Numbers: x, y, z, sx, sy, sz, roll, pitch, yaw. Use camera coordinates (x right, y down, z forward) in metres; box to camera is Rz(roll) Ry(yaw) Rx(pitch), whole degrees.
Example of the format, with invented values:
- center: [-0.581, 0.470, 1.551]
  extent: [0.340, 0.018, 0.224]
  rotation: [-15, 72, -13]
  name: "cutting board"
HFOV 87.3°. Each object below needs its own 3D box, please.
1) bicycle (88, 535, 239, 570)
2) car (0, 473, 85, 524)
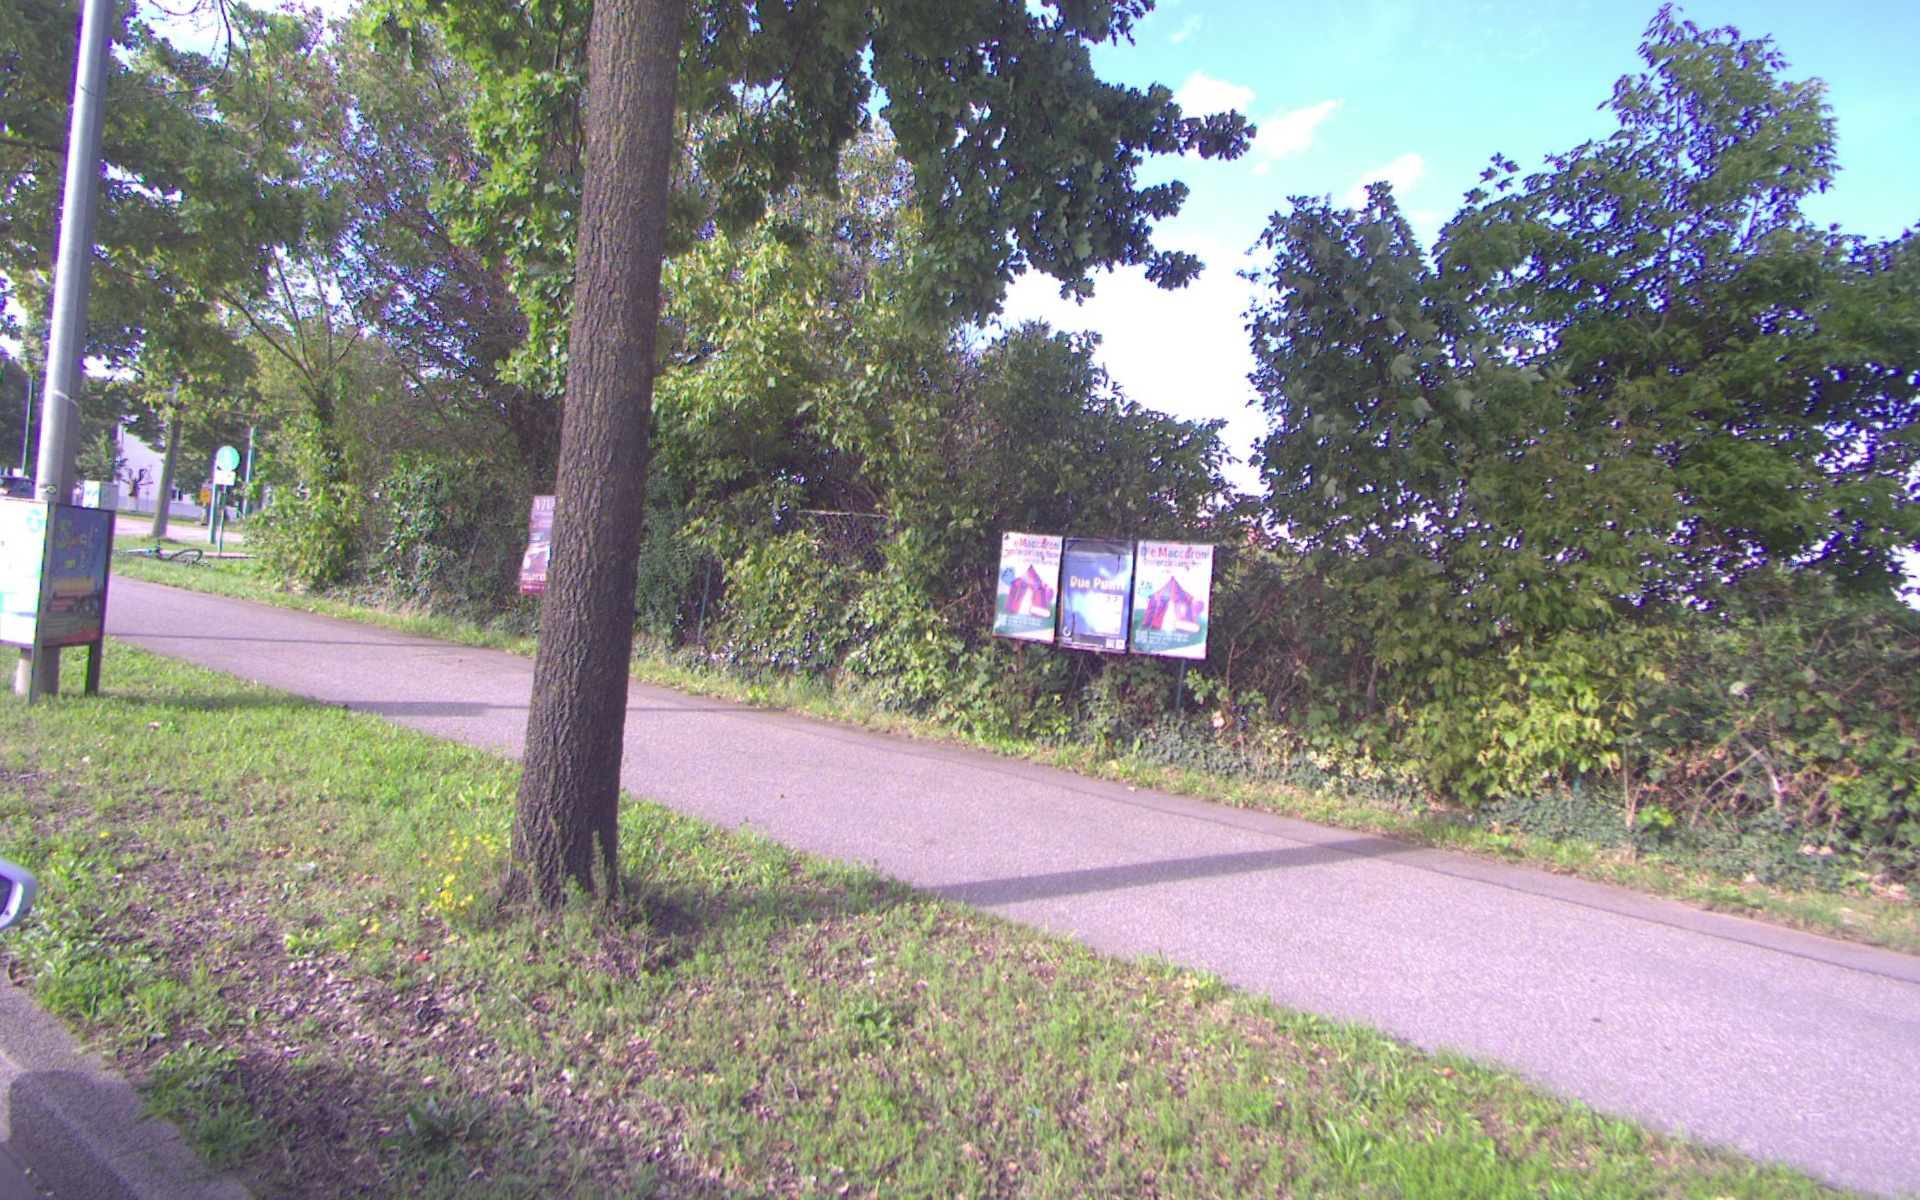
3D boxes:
- center: [-16.891, -1.004, 21.356]
  extent: [2.529, 0.390, 1.411]
  rotation: [7, 0, 21]
  name: "bicycle"
- center: [-36.605, -4.025, 39.350]
  extent: [1.545, 1.593, 3.199]
  rotation: [8, 0, 13]
  name: "car"
